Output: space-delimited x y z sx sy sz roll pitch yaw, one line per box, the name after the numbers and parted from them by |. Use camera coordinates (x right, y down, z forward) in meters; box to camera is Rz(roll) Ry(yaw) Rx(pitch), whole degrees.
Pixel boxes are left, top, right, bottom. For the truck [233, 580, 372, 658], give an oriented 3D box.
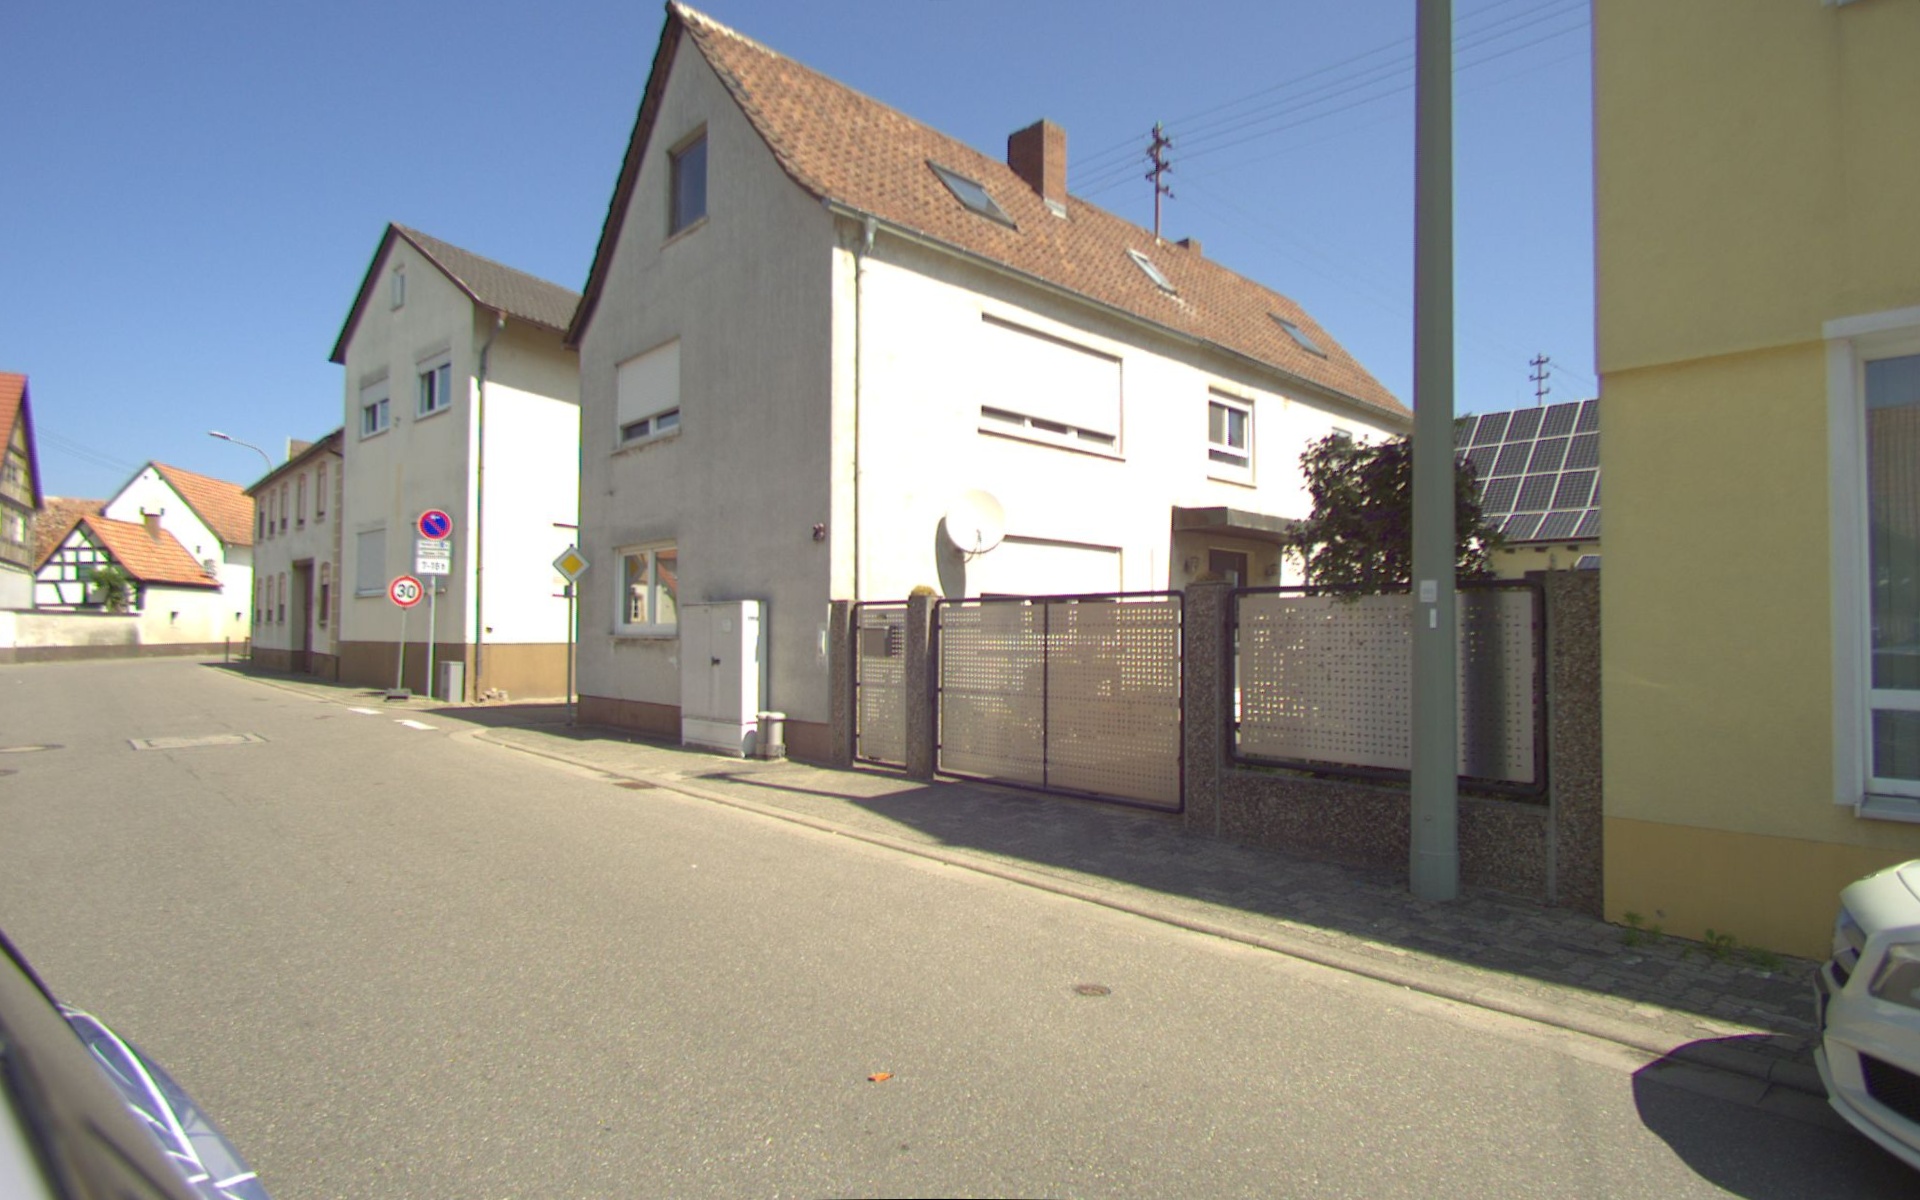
-35.186 1.101 54.743 2.659 3.779 10.896 1 -2 -13 | truck

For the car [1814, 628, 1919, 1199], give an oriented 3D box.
4.289 0.803 1.671 4.272 1.475 1.814 -2 -4 44 | car
